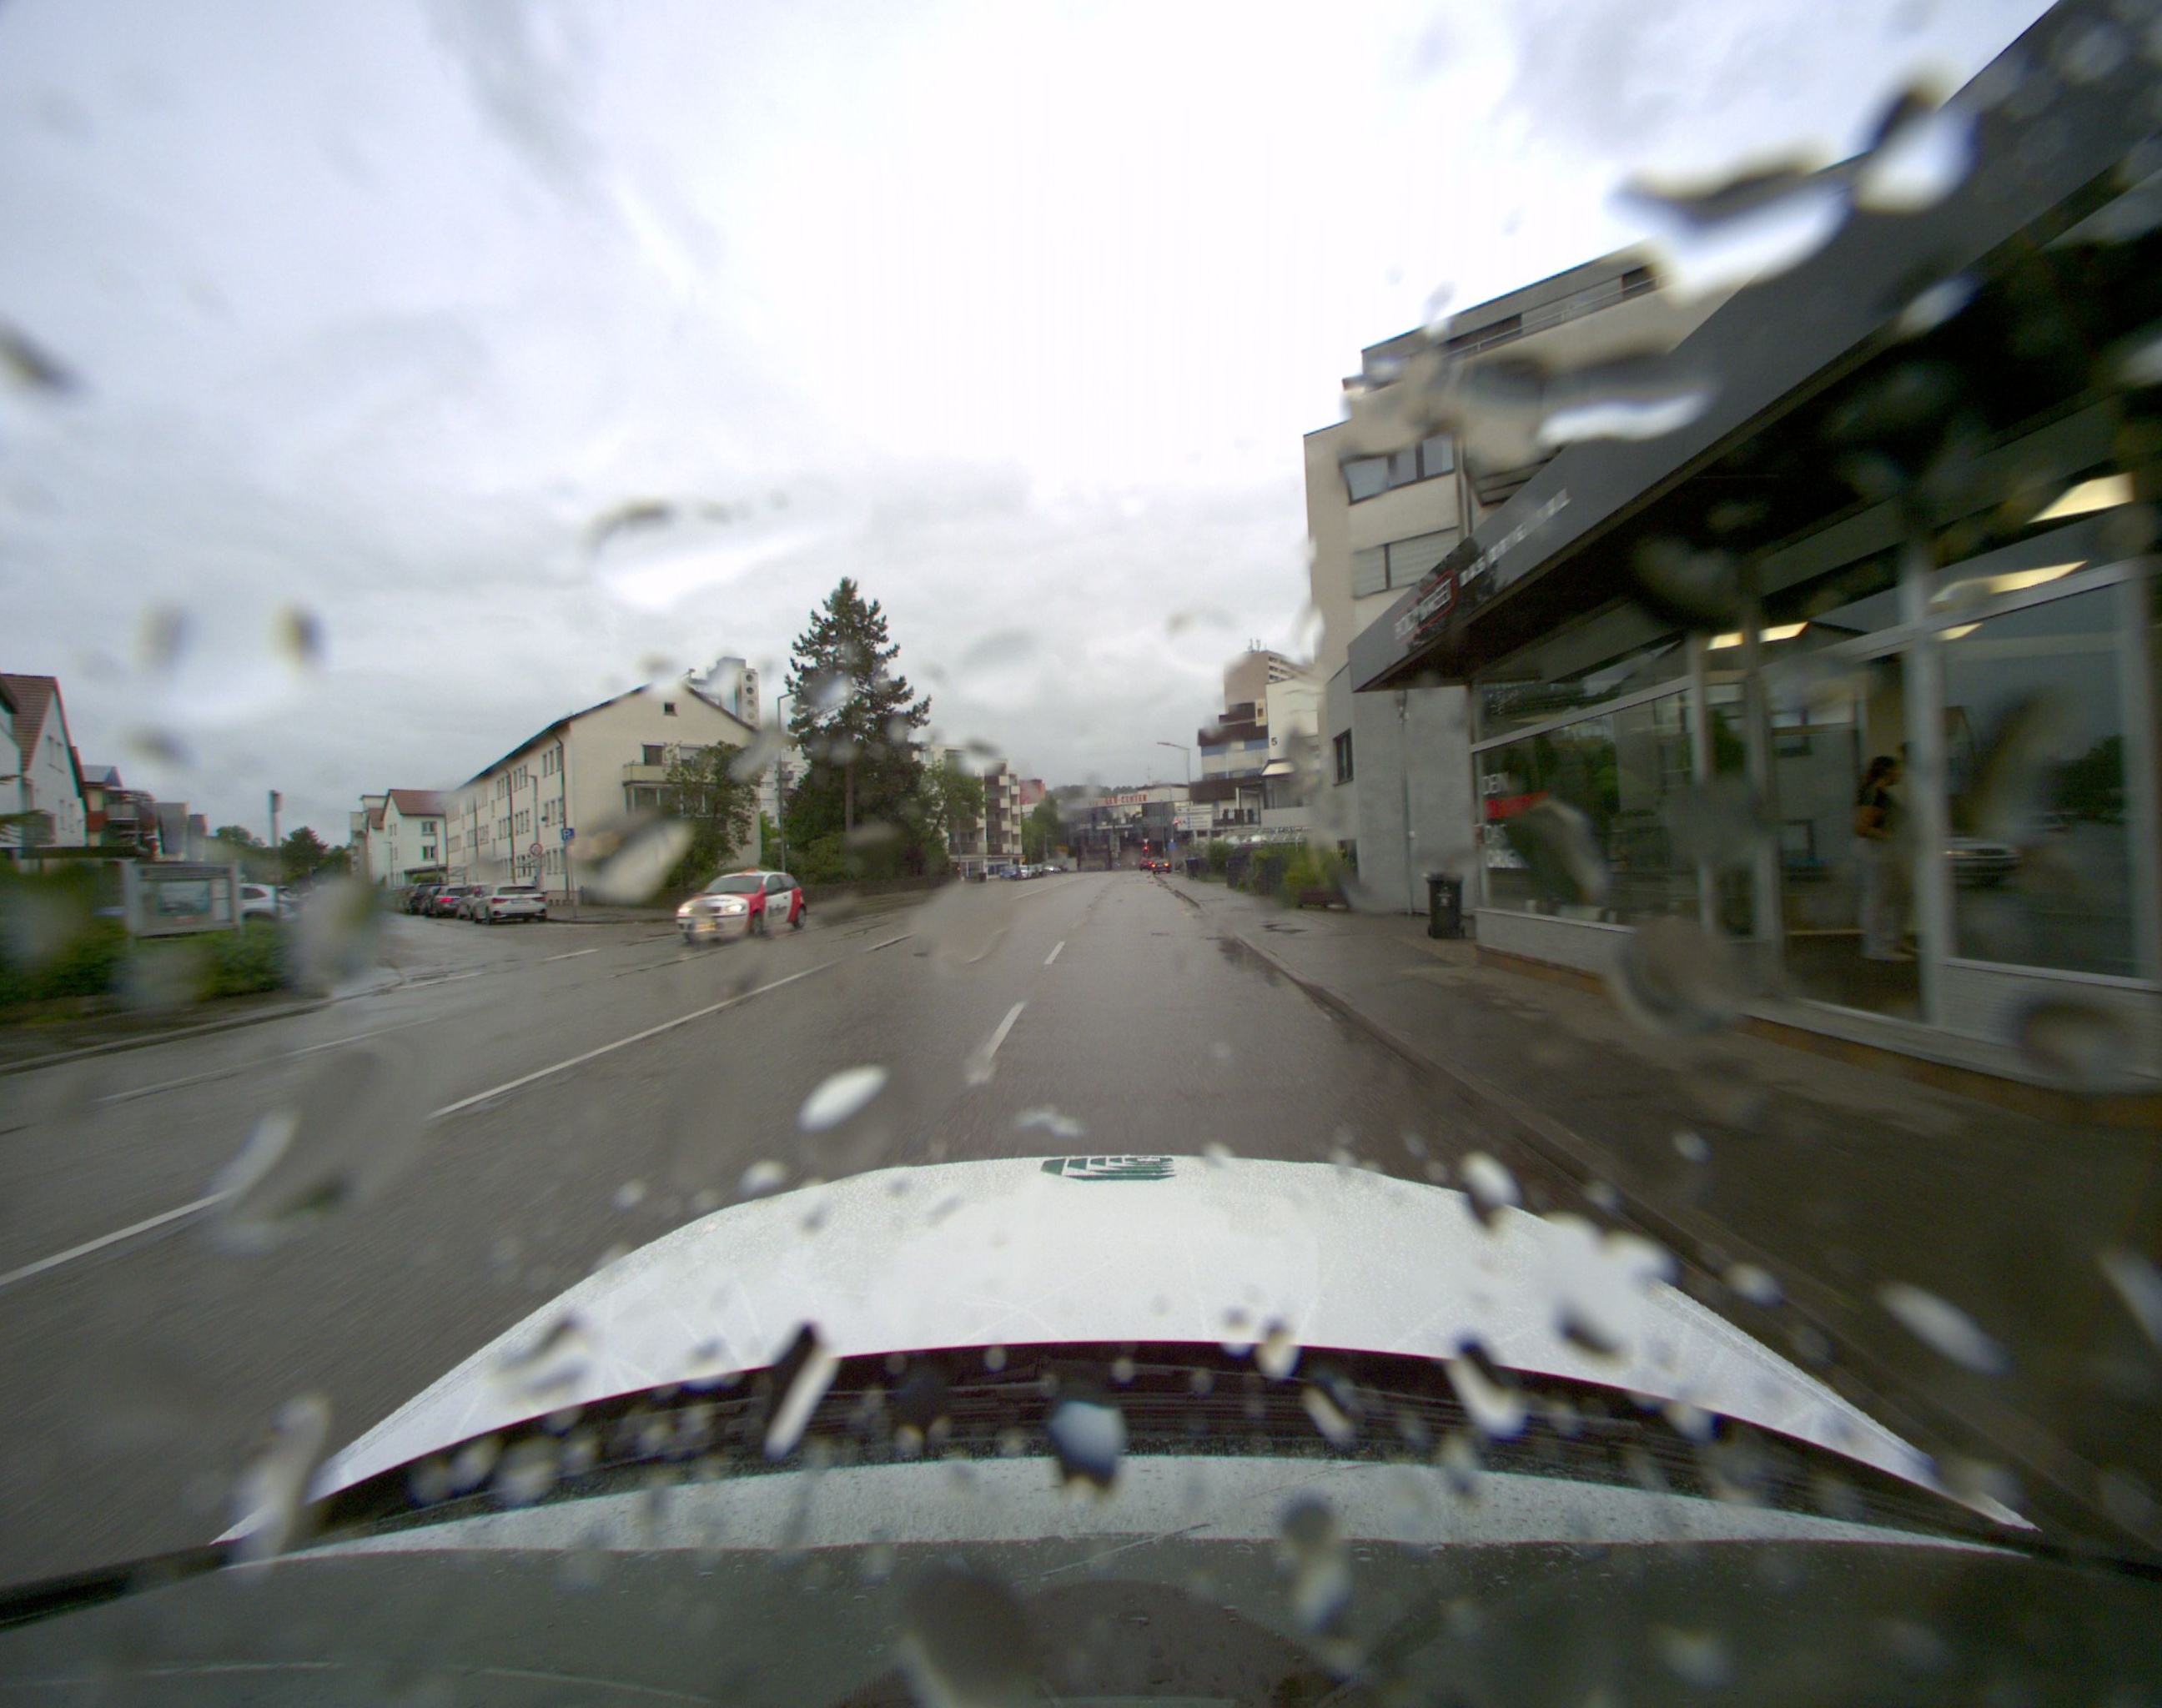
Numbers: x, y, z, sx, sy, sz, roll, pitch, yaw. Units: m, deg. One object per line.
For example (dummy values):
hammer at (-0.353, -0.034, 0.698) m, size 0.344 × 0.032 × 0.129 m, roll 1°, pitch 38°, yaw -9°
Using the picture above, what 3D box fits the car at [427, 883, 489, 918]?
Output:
car at (-28.338, 2.084, 36.987) m, size 1.797 × 1.446 × 3.775 m, roll -2°, pitch -1°, yaw -44°

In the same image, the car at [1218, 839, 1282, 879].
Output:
car at (9.386, 0.243, 44.866) m, size 1.974 × 2.013 × 4.809 m, roll -3°, pitch 0°, yaw 29°

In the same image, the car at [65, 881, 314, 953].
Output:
car at (-24.739, 1.675, 22.908) m, size 4.408 × 1.615 × 2.108 m, roll -2°, pitch 0°, yaw -38°

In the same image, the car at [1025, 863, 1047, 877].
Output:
car at (-5.277, 1.834, 96.552) m, size 1.925 × 1.542 × 4.279 m, roll -2°, pitch -1°, yaw 6°

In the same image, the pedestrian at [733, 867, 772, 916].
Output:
pedestrian at (-11.269, 1.277, 27.969) m, size 0.867 × 1.607 × 1.102 m, roll -2°, pitch -1°, yaw -4°

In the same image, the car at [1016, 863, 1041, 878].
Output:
car at (-5.821, 1.808, 90.756) m, size 1.925 × 1.542 × 4.528 m, roll -2°, pitch -1°, yaw 6°

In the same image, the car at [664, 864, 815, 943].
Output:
car at (-7.852, 1.076, 19.156) m, size 1.692 × 1.409 × 4.001 m, roll -5°, pitch 1°, yaw 1°

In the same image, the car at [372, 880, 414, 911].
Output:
car at (-48.720, 2.896, 57.622) m, size 2.011 × 2.013 × 3.951 m, roll -2°, pitch 0°, yaw -43°

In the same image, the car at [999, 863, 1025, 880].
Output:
car at (-6.726, 1.666, 79.649) m, size 1.643 × 1.521 × 4.331 m, roll -2°, pitch -1°, yaw 5°

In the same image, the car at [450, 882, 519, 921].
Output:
car at (-24.808, 1.949, 33.813) m, size 1.797 × 1.446 × 3.775 m, roll -2°, pitch -1°, yaw -44°

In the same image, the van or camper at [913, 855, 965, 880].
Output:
van or camper at (-12.232, 1.172, 69.944) m, size 2.010 × 1.924 × 5.157 m, roll -4°, pitch 1°, yaw -39°

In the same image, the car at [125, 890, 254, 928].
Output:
car at (-41.250, 2.527, 37.805) m, size 3.843 × 1.446 × 1.765 m, roll -2°, pitch -1°, yaw -42°

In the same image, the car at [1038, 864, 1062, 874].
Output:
car at (-5.010, 2.403, 131.993) m, size 2.007 × 1.512 × 4.389 m, roll 1°, pitch 1°, yaw -32°

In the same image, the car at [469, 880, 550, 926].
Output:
car at (-20.814, 1.743, 29.617) m, size 1.797 × 1.446 × 3.952 m, roll -2°, pitch -1°, yaw -44°

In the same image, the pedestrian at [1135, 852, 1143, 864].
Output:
pedestrian at (7.810, 0.555, 109.485) m, size 0.912 × 1.659 × 0.750 m, roll 1°, pitch 1°, yaw -23°

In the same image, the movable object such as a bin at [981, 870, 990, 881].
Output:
movable object such as a bin at (-8.920, 2.023, 75.773) m, size 0.645 × 0.966 × 0.683 m, roll -3°, pitch -1°, yaw 5°

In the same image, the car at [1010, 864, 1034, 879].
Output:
car at (-6.119, 1.793, 85.464) m, size 1.685 × 1.464 × 4.691 m, roll -2°, pitch 0°, yaw 6°

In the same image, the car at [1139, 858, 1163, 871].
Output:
car at (8.864, 1.290, 102.701) m, size 1.788 × 1.419 × 4.022 m, roll -3°, pitch -1°, yaw 23°

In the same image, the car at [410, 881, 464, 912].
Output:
car at (-33.111, 2.173, 41.838) m, size 1.797 × 1.446 × 3.775 m, roll -2°, pitch -1°, yaw -44°

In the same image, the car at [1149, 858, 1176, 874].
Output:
car at (8.356, 1.213, 83.115) m, size 1.979 × 1.534 × 4.665 m, roll -2°, pitch -2°, yaw 15°

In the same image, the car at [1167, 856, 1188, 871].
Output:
car at (11.162, 1.045, 94.100) m, size 1.686 × 1.486 × 4.015 m, roll -6°, pitch -1°, yaw 14°

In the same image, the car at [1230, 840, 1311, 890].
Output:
car at (7.464, 0.415, 32.506) m, size 1.988 × 1.785 × 4.688 m, roll -3°, pitch 0°, yaw -1°

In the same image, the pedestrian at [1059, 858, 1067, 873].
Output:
pedestrian at (-2.546, 1.617, 112.809) m, size 0.741 × 2.014 × 0.926 m, roll 1°, pitch -1°, yaw 26°
